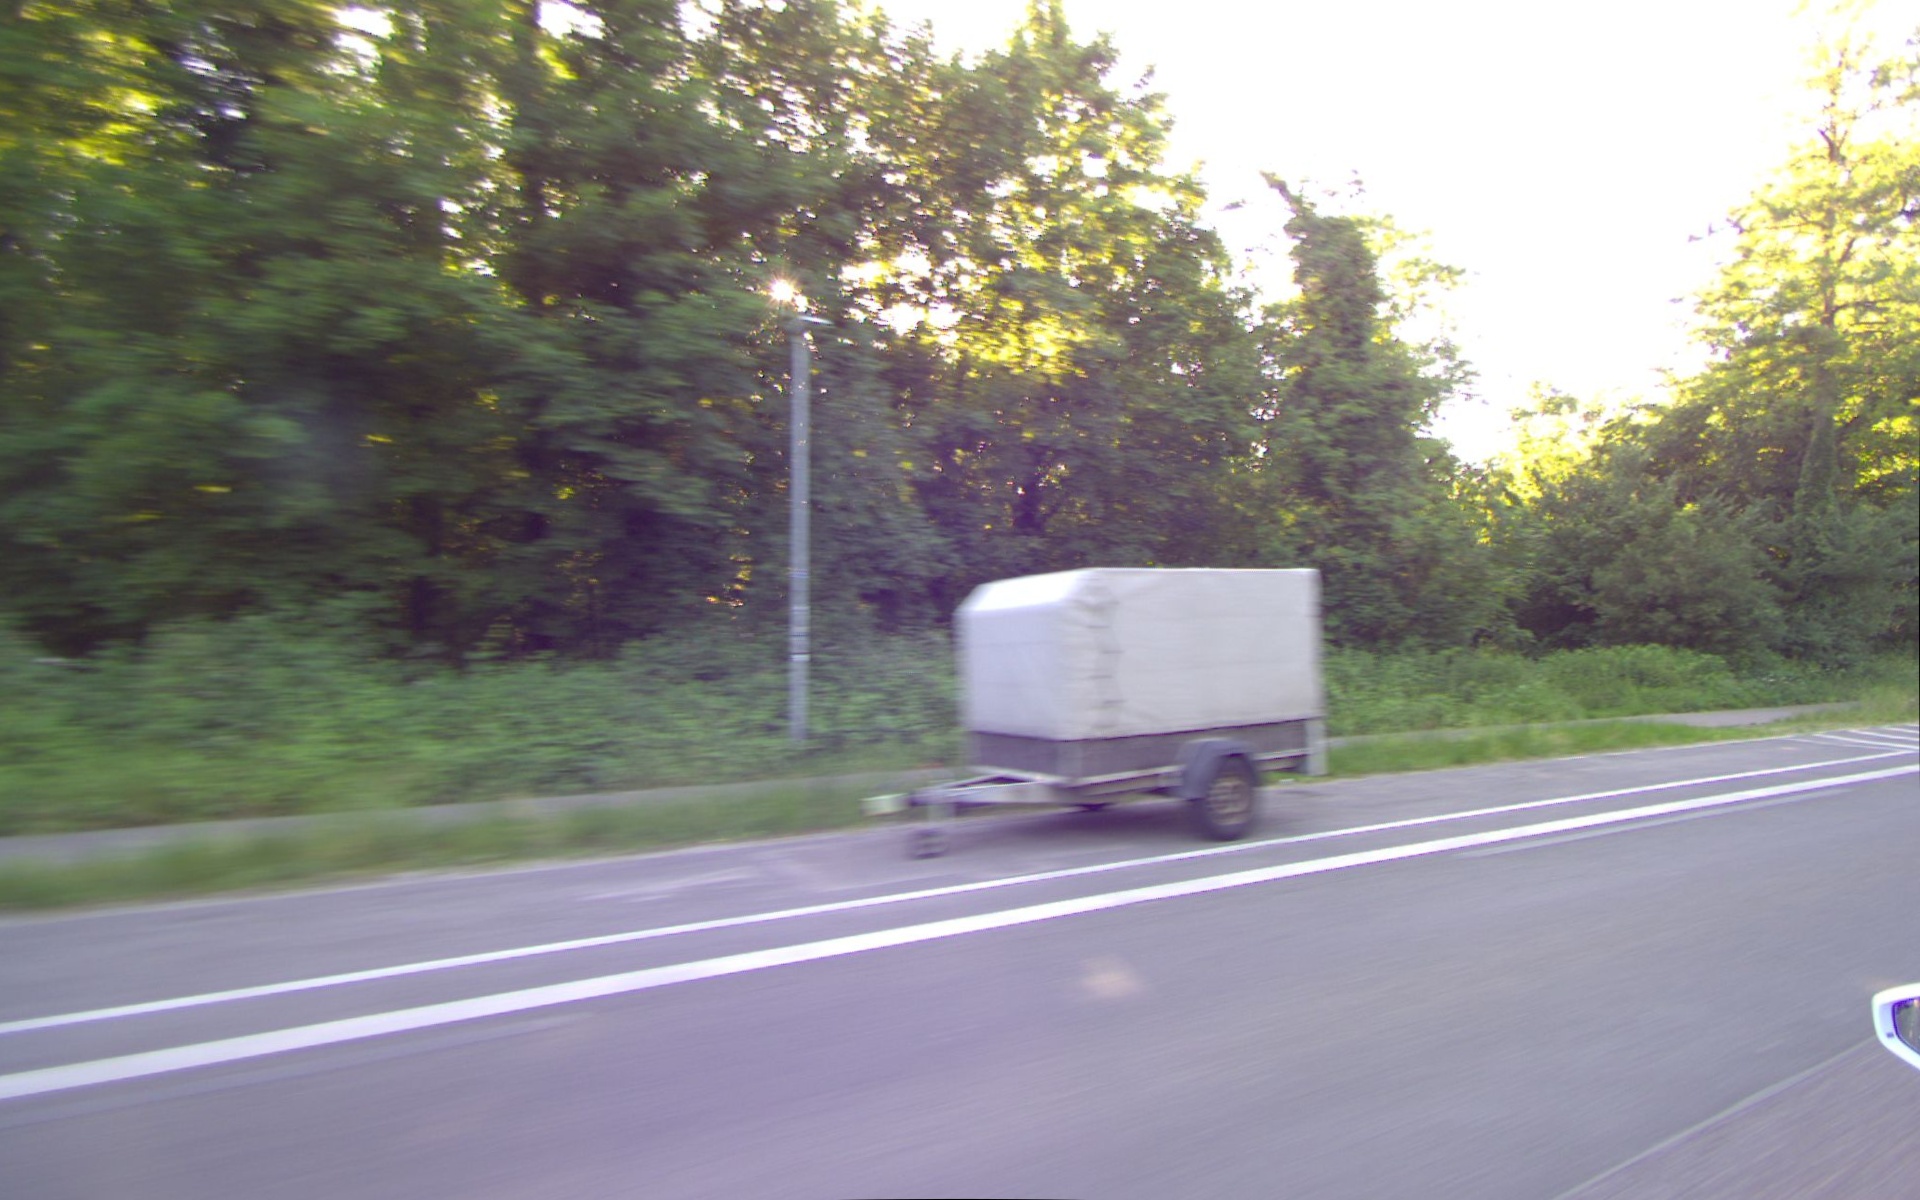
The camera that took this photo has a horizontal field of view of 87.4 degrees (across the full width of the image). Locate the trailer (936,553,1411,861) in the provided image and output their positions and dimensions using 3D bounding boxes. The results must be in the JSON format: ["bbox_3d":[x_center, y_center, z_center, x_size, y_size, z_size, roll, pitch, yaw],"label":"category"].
[{"bbox_3d":[1.780,0.793,8.360,3.518,2.039,1.845,1,-4,-30],"label":"trailer"}]
